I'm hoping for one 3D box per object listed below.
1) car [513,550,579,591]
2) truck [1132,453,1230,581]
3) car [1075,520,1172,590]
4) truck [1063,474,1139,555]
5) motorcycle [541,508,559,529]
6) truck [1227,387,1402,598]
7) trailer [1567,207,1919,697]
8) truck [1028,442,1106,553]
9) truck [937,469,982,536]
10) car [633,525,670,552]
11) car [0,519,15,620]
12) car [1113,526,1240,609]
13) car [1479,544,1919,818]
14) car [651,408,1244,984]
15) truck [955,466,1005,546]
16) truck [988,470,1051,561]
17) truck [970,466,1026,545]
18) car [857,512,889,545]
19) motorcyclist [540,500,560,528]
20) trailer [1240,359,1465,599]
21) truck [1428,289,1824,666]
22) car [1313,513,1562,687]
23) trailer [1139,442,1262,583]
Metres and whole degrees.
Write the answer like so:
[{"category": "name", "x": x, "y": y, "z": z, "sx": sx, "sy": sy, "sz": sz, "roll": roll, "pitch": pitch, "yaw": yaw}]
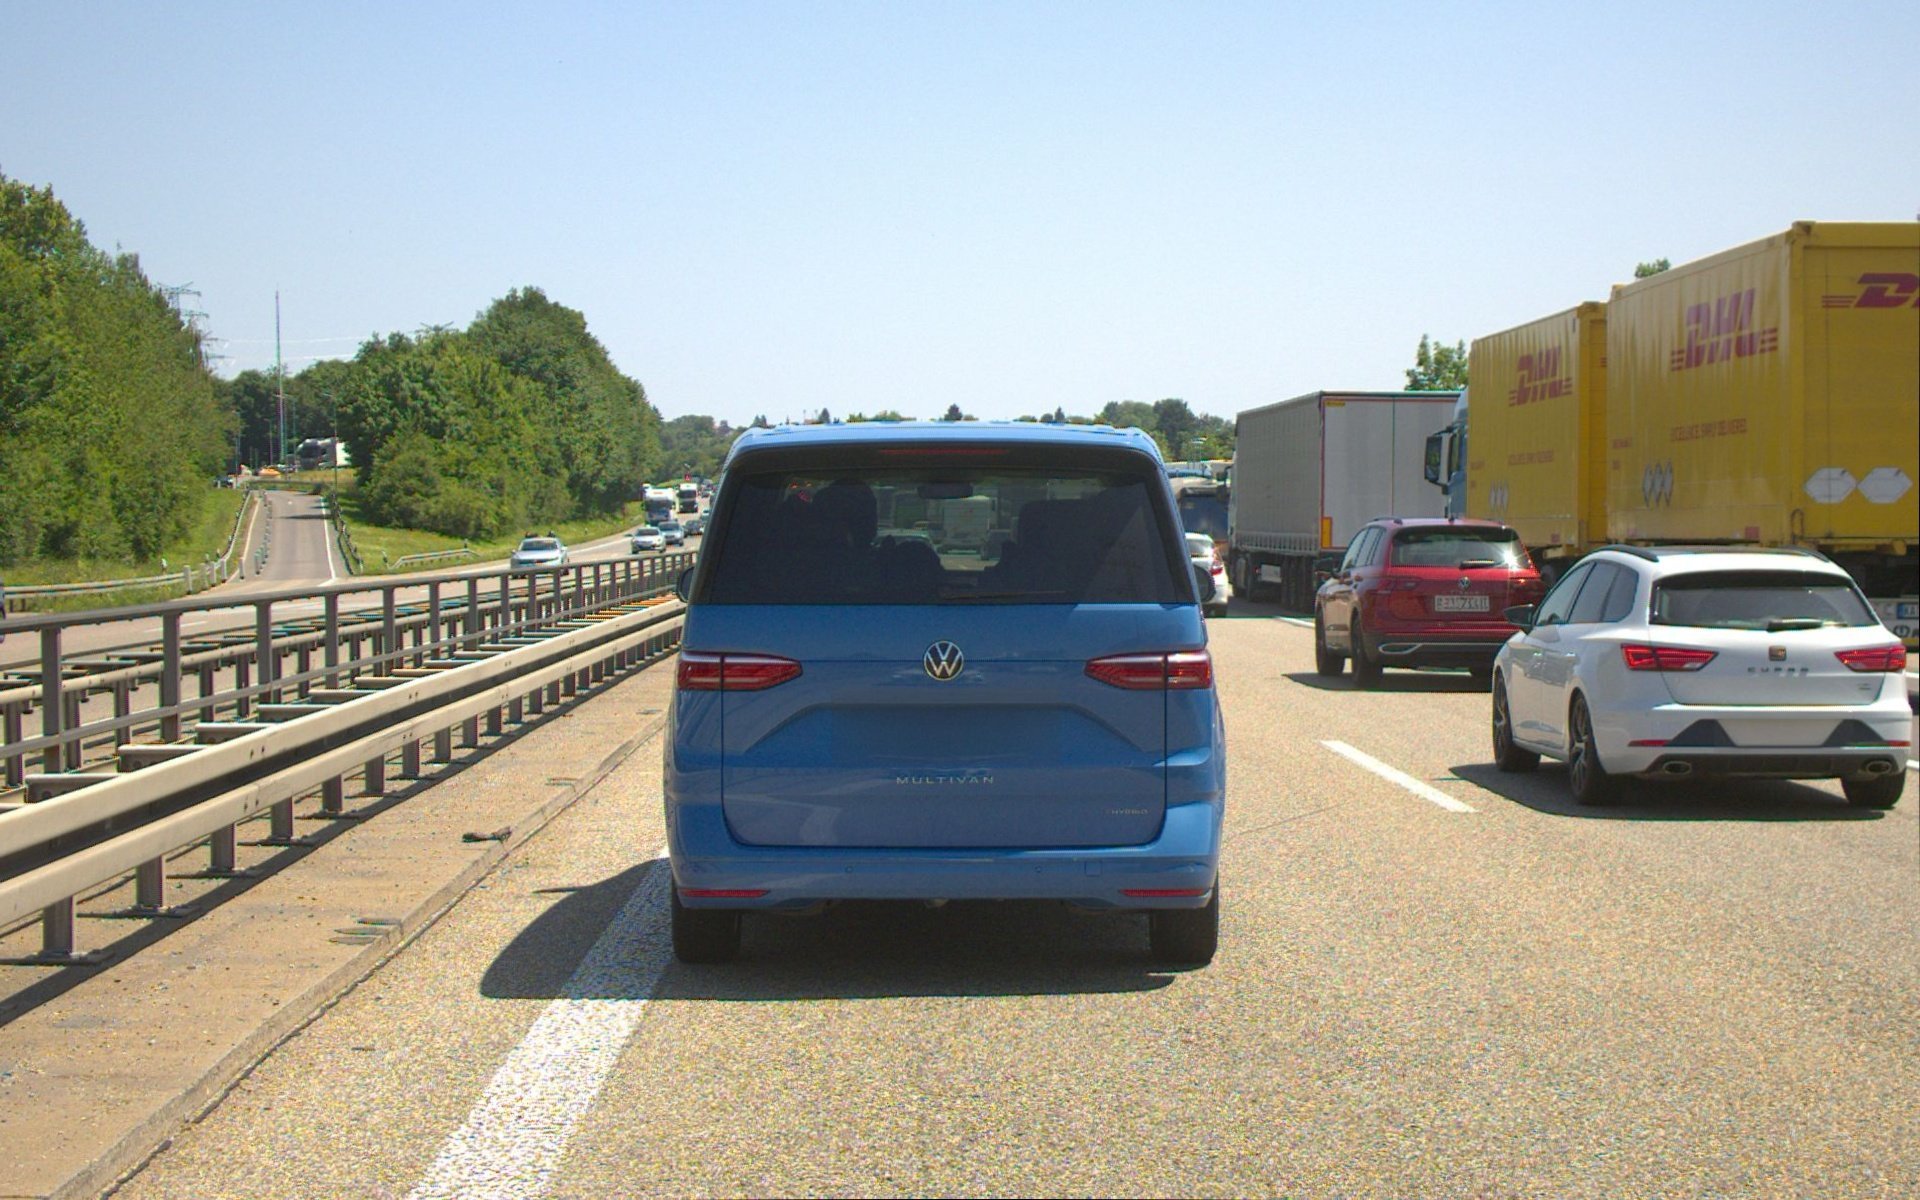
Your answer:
[{"category": "car", "x": -14.873, "y": -1.069, "z": 123.756, "sx": 1.910, "sy": 1.389, "sz": 4.165, "roll": -2, "pitch": 1, "yaw": -1}, {"category": "truck", "x": 6.601, "y": -2.454, "z": 103.176, "sx": 2.367, "sy": 3.709, "sz": 6.034, "roll": 1, "pitch": 1, "yaw": -1}, {"category": "car", "x": 3.818, "y": -1.062, "z": 80.847, "sx": 1.715, "sy": 1.581, "sz": 3.822, "roll": -1, "pitch": 1, "yaw": -5}, {"category": "truck", "x": 5.833, "y": -3.513, "z": 143.474, "sx": 2.355, "sy": 3.207, "sz": 9.742, "roll": 1, "pitch": 1, "yaw": -2}, {"category": "motorcycle", "x": -21.636, "y": -4.329, "z": 181.537, "sx": 0.702, "sy": 1.067, "sz": 2.306, "roll": -1, "pitch": 2, "yaw": -1}, {"category": "truck", "x": 7.188, "y": -2.143, "z": 70.622, "sx": 2.768, "sy": 4.081, "sz": 6.984, "roll": 1, "pitch": 1, "yaw": 0}, {"category": "trailer", "x": 7.993, "y": -1.258, "z": 32.741, "sx": 2.701, "sy": 4.009, "sz": 8.931, "roll": 1, "pitch": 1, "yaw": 0}, {"category": "truck", "x": 4.997, "y": -4.750, "z": 162.879, "sx": 2.833, "sy": 5.023, "sz": 11.147, "roll": 1, "pitch": 1, "yaw": -2}, {"category": "truck", "x": -0.072, "y": -7.473, "z": 265.233, "sx": 2.833, "sy": 5.022, "sz": 12.915, "roll": -1, "pitch": 1, "yaw": -2}, {"category": "car", "x": -17.459, "y": -3.473, "z": 194.833, "sx": 1.715, "sy": 1.429, "sz": 4.176, "roll": -3, "pitch": 1, "yaw": -1}, {"category": "car", "x": -17.788, "y": -0.487, "z": 59.325, "sx": 1.782, "sy": 1.779, "sz": 4.303, "roll": -1, "pitch": 1, "yaw": -1}, {"category": "car", "x": 3.809, "y": -0.598, "z": 61.025, "sx": 1.838, "sy": 1.409, "sz": 4.001, "roll": 0, "pitch": 1, "yaw": -2}, {"category": "car", "x": 4.222, "y": 0.386, "z": 19.801, "sx": 1.781, "sy": 1.382, "sz": 4.188, "roll": 0, "pitch": 1, "yaw": -1}, {"category": "car", "x": -0.065, "y": 0.265, "z": 12.938, "sx": 1.882, "sy": 1.831, "sz": 4.000, "roll": 0, "pitch": 1, "yaw": -1}, {"category": "truck", "x": 1.372, "y": -6.538, "z": 241.536, "sx": 2.833, "sy": 5.354, "sz": 12.556, "roll": 1, "pitch": 1, "yaw": -2}, {"category": "truck", "x": 3.349, "y": -4.748, "z": 195.993, "sx": 2.833, "sy": 5.023, "sz": 11.818, "roll": 1, "pitch": 1, "yaw": -2}, {"category": "truck", "x": 2.416, "y": -6.089, "z": 222.204, "sx": 2.833, "sy": 4.869, "sz": 13.222, "roll": -2, "pitch": 1, "yaw": -2}, {"category": "car", "x": -5.532, "y": -4.523, "z": 218.715, "sx": 1.993, "sy": 2.007, "sz": 4.000, "roll": 1, "pitch": 1, "yaw": -1}, {"category": "motorcyclist", "x": -21.648, "y": -4.529, "z": 181.513, "sx": 0.898, "sy": 1.436, "sz": 1.082, "roll": -1, "pitch": 2, "yaw": -1}, {"category": "trailer", "x": 7.271, "y": -2.168, "z": 65.294, "sx": 2.755, "sy": 4.132, "sz": 11.313, "roll": 1, "pitch": 1, "yaw": -1}, {"category": "truck", "x": 7.912, "y": -1.389, "z": 42.371, "sx": 2.722, "sy": 4.040, "sz": 10.337, "roll": 1, "pitch": 1, "yaw": 0}, {"category": "car", "x": 4.621, "y": -0.045, "z": 33.799, "sx": 1.851, "sy": 1.603, "sz": 4.000, "roll": 0, "pitch": 1, "yaw": -1}, {"category": "trailer", "x": 6.713, "y": -2.394, "z": 97.355, "sx": 2.379, "sy": 3.731, "sz": 11.189, "roll": 1, "pitch": 1, "yaw": -1}]
